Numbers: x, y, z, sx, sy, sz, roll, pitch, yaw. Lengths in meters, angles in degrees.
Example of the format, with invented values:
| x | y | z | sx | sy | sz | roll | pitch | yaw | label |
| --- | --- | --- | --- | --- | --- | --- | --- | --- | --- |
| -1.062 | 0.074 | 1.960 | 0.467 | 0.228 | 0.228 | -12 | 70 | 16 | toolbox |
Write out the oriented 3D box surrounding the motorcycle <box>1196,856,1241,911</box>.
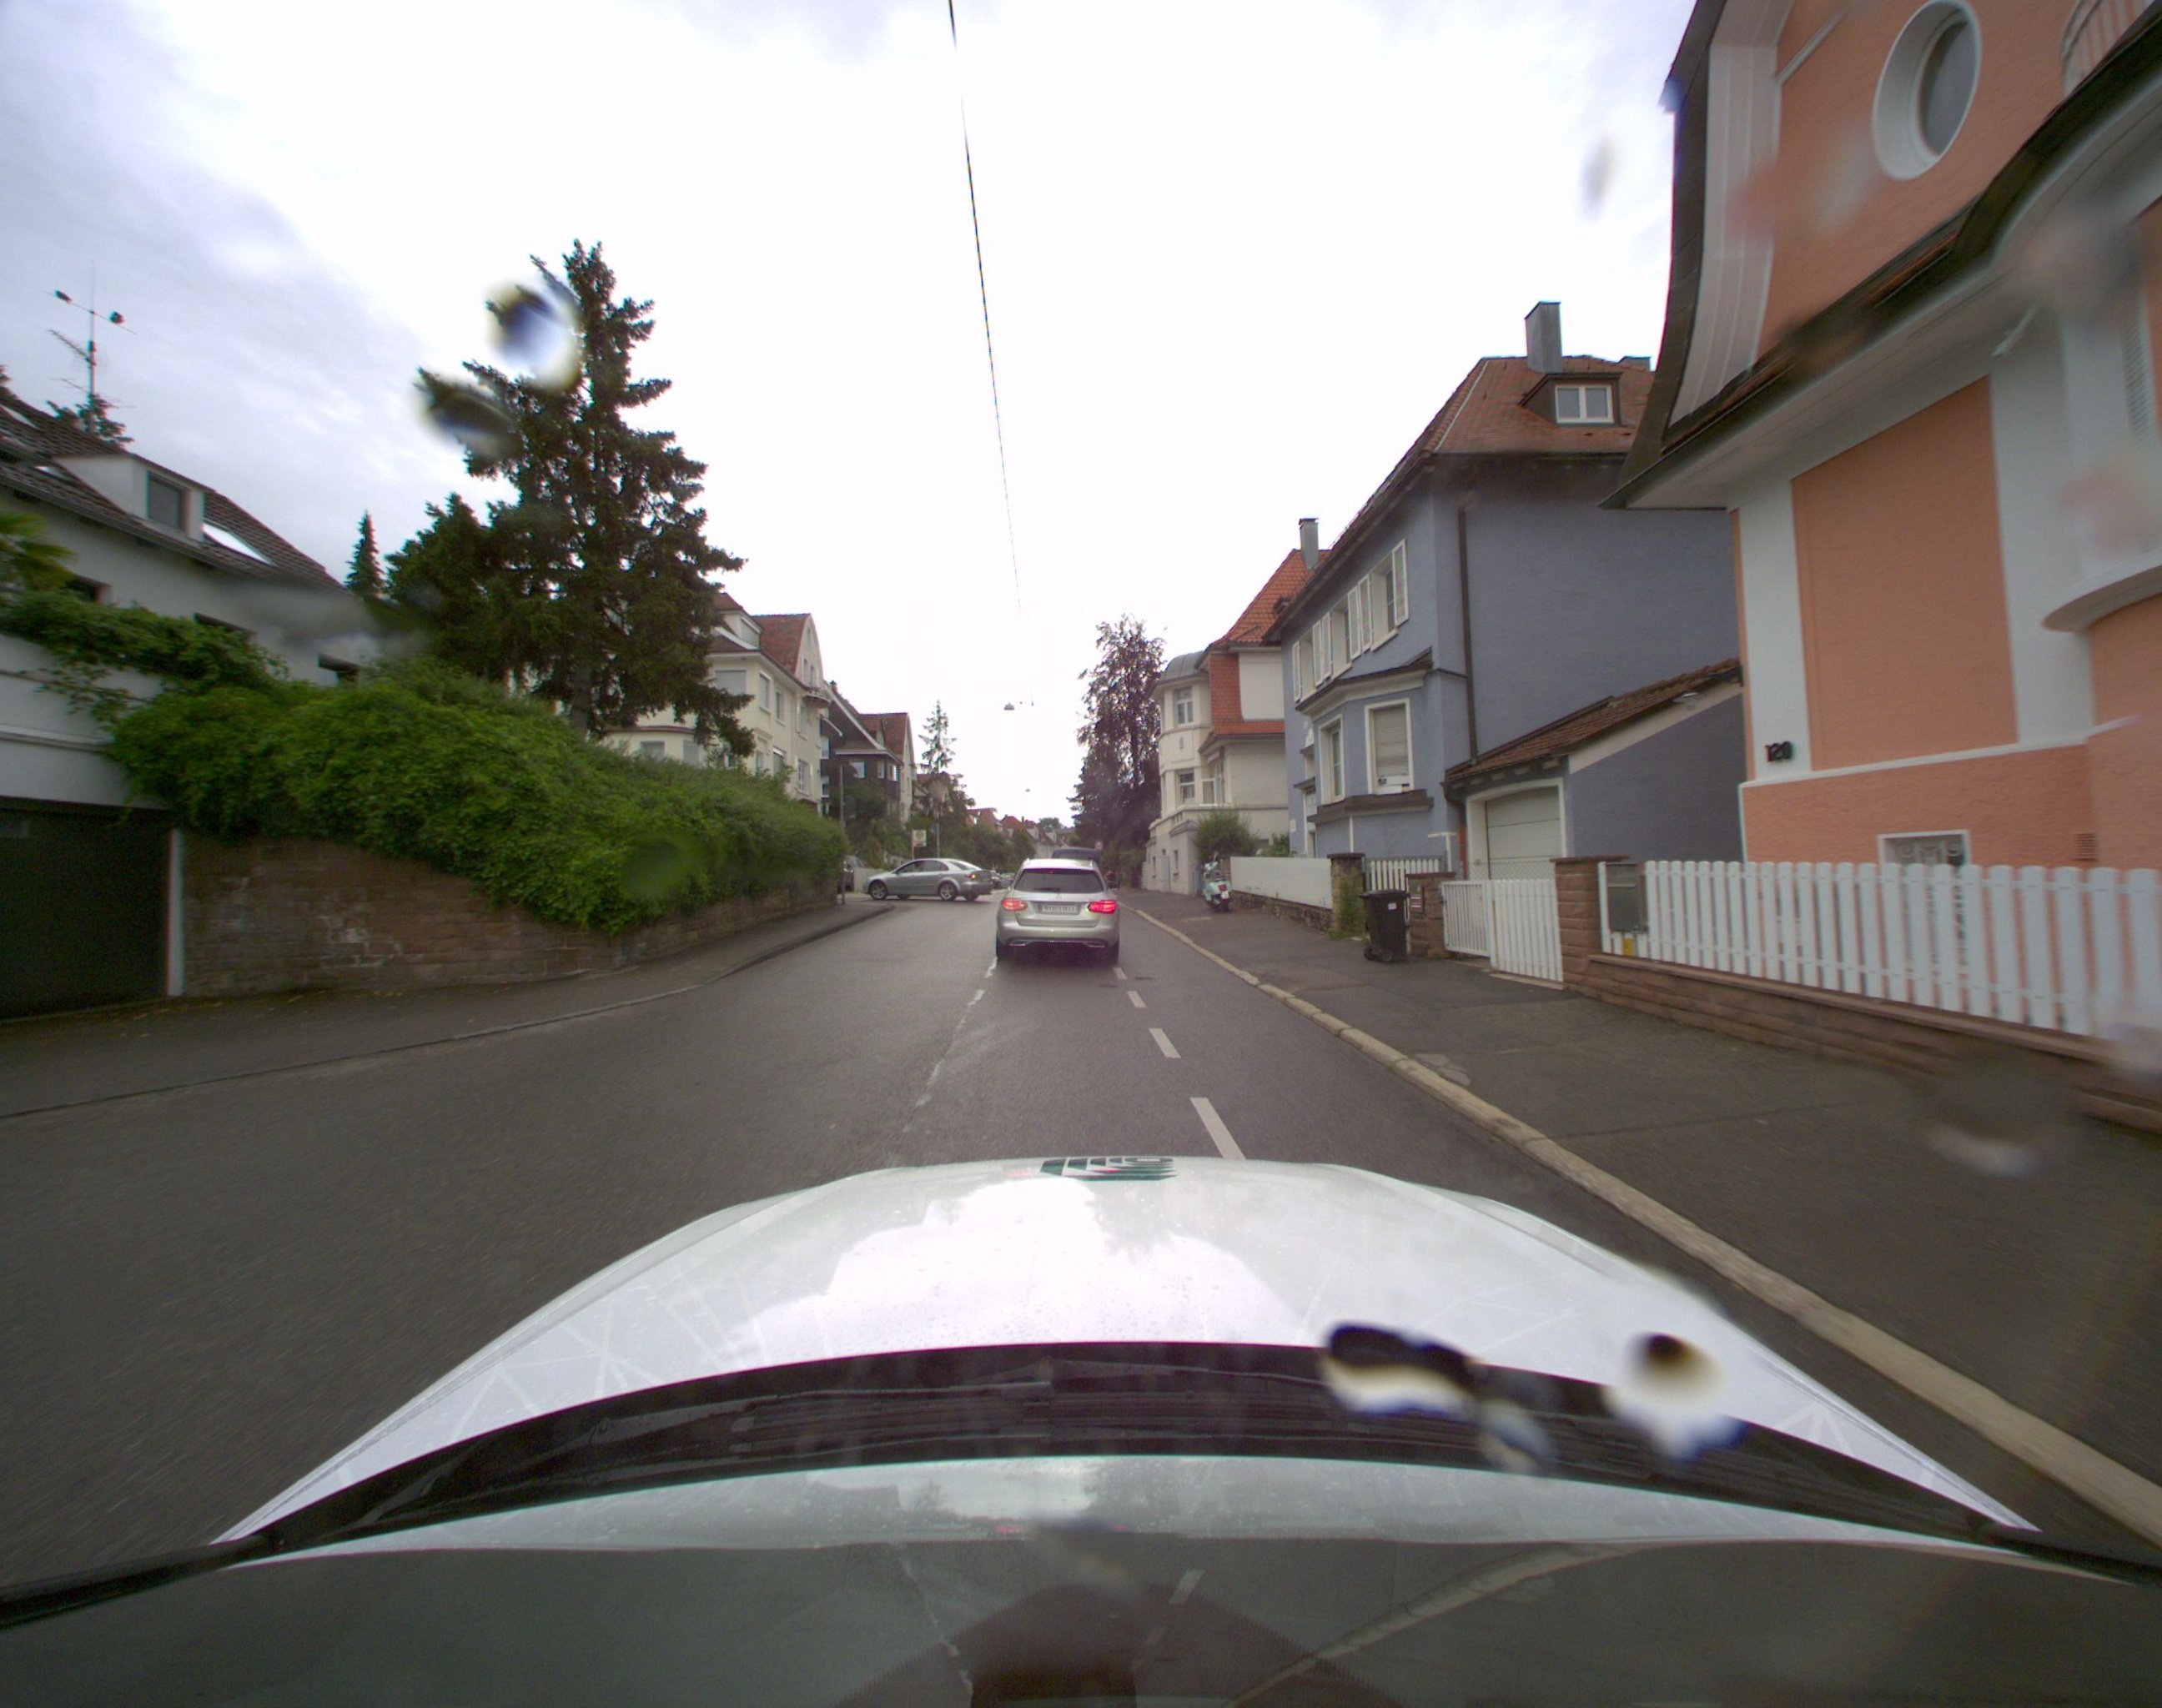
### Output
| x | y | z | sx | sy | sz | roll | pitch | yaw | label |
| --- | --- | --- | --- | --- | --- | --- | --- | --- | --- |
| 3.404 | 0.712 | 20.358 | 0.690 | 1.226 | 2.154 | -7 | -1 | 2 | motorcycle |

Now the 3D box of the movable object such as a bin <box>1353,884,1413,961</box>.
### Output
| x | y | z | sx | sy | sz | roll | pitch | yaw | label |
| --- | --- | --- | --- | --- | --- | --- | --- | --- | --- |
| 3.904 | 0.877 | 10.545 | 0.531 | 0.918 | 0.487 | -4 | 0 | -5 | movable object such as a bin |

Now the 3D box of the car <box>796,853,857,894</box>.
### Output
| x | y | z | sx | sy | sz | roll | pitch | yaw | label |
| --- | --- | --- | --- | --- | --- | --- | --- | --- | --- |
| -10.765 | 0.794 | 34.729 | 1.764 | 1.618 | 3.990 | 0 | -1 | -7 | car |

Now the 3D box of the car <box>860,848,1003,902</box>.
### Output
| x | y | z | sx | sy | sz | roll | pitch | yaw | label |
| --- | --- | --- | --- | --- | --- | --- | --- | --- | --- |
| -5.044 | 0.683 | 27.525 | 4.328 | 1.556 | 1.831 | 2 | -1 | 21 | car |

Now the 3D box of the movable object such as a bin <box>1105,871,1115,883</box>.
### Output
| x | y | z | sx | sy | sz | roll | pitch | yaw | label |
| --- | --- | --- | --- | --- | --- | --- | --- | --- | --- |
| 2.073 | 1.656 | 57.811 | 0.650 | 0.856 | 0.502 | 0 | -1 | -5 | movable object such as a bin |

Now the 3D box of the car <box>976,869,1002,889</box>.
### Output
| x | y | z | sx | sy | sz | roll | pitch | yaw | label |
| --- | --- | --- | --- | --- | --- | --- | --- | --- | --- |
| -7.762 | 2.100 | 69.181 | 1.889 | 1.623 | 4.373 | 0 | -2 | -3 | car |

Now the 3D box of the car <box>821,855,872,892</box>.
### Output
| x | y | z | sx | sy | sz | roll | pitch | yaw | label |
| --- | --- | --- | --- | --- | --- | --- | --- | --- | --- |
| -11.432 | 0.936 | 39.920 | 1.764 | 1.696 | 3.990 | 0 | -1 | -7 | car |

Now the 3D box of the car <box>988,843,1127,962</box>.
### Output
| x | y | z | sx | sy | sz | roll | pitch | yaw | label |
| --- | --- | --- | --- | --- | --- | --- | --- | --- | --- |
| -0.367 | 0.660 | 12.675 | 1.811 | 1.556 | 3.996 | 0 | -1 | -2 | car |

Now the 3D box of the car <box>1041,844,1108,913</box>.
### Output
| x | y | z | sx | sy | sz | roll | pitch | yaw | label |
| --- | --- | --- | --- | --- | --- | --- | --- | --- | --- |
| -0.188 | 0.770 | 24.400 | 1.837 | 1.904 | 3.998 | 0 | -3 | -1 | car |
